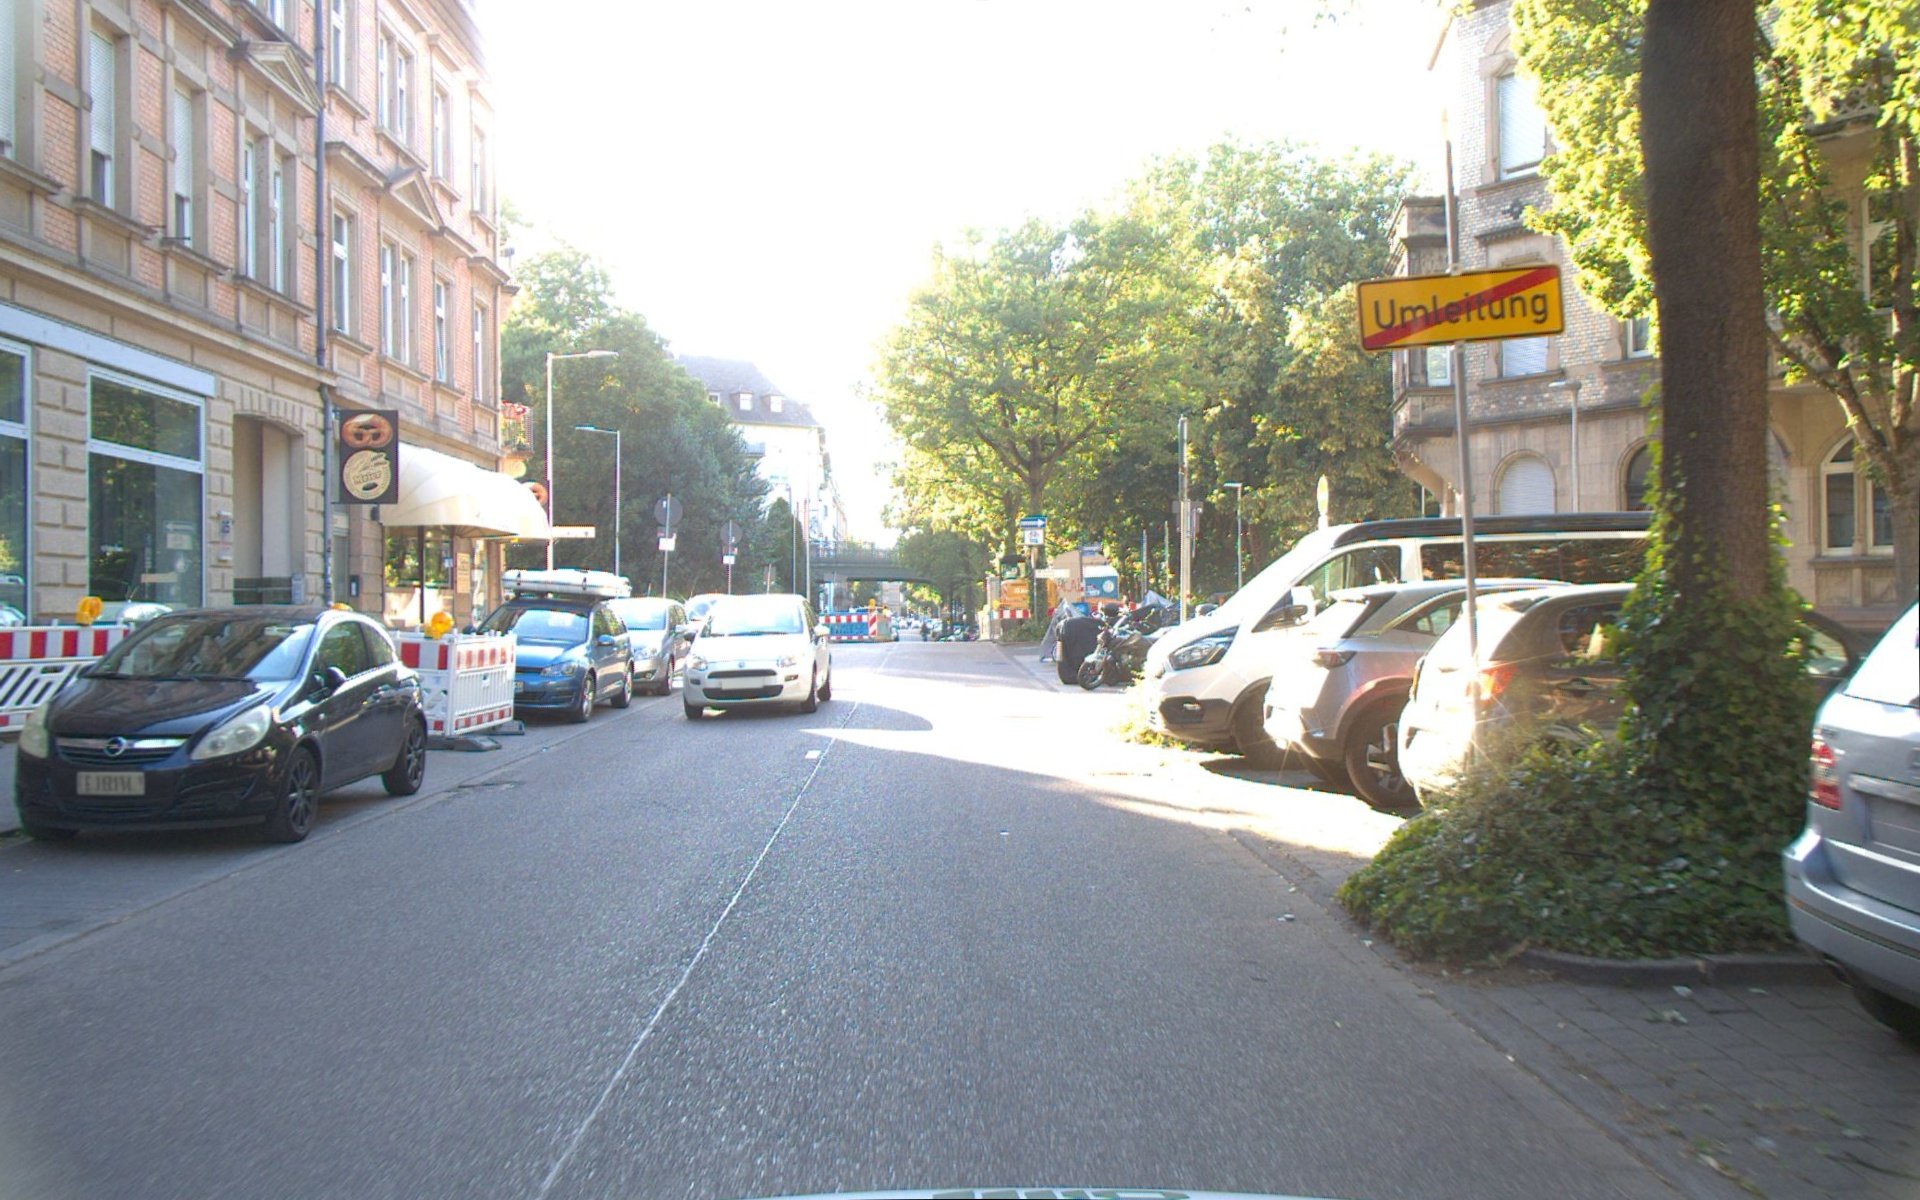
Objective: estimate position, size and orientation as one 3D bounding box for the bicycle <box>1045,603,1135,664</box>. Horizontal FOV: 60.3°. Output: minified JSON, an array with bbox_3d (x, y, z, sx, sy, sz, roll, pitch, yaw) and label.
[{"bbox_3d":[2.753,0.711,35.092,1.887,1.268,0.302,0,0,-7],"label":"bicycle"}]

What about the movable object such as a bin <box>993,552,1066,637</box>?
[{"bbox_3d":[2.342,-0.169,55.143,1.951,2.747,3.113,0,-1,12],"label":"movable object such as a bin"}]

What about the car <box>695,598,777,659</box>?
[{"bbox_3d":[-5.607,0.688,41.790,1.635,1.483,3.999,0,0,-1],"label":"car"}]

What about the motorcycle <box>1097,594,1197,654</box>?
[{"bbox_3d":[4.328,0.553,38.241,2.234,1.365,0.657,0,-1,10],"label":"motorcycle"}]

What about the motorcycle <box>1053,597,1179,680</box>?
[{"bbox_3d":[2.653,0.646,28.257,1.983,1.307,0.903,-3,0,-3],"label":"motorcycle"}]

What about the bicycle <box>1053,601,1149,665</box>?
[{"bbox_3d":[2.820,0.660,33.124,1.887,1.268,0.302,0,0,-7],"label":"bicycle"}]

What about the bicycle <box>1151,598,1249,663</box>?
[{"bbox_3d":[4.811,0.607,33.195,1.887,1.268,0.479,0,0,-7],"label":"bicycle"}]

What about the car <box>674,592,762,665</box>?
[{"bbox_3d":[-5.409,0.614,37.342,1.636,1.557,3.997,0,0,-3],"label":"car"}]

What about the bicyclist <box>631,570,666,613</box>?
[{"bbox_3d":[-10.315,-0.274,54.735,0.797,1.407,0.972,1,0,-37],"label":"bicyclist"}]

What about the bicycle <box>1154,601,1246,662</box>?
[{"bbox_3d":[5.083,0.659,35.056,1.887,1.268,0.479,0,0,-7],"label":"bicycle"}]

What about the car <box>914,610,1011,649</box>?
[{"bbox_3d":[0.099,1.374,76.282,4.302,1.634,1.914,1,-3,-5],"label":"car"}]

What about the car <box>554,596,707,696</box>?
[{"bbox_3d":[-5.292,0.690,27.012,1.690,1.462,3.995,1,0,-1],"label":"car"}]

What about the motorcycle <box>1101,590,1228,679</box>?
[{"bbox_3d":[3.362,0.559,27.294,1.982,1.386,0.694,-2,0,-1],"label":"motorcycle"}]

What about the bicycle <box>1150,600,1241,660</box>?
[{"bbox_3d":[5.050,0.633,35.550,1.887,1.268,0.452,0,0,-7],"label":"bicycle"}]

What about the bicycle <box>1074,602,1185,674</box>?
[{"bbox_3d":[3.034,0.680,29.720,1.887,1.268,0.647,0,0,-7],"label":"bicycle"}]

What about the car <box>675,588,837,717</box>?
[{"bbox_3d":[-2.601,0.623,21.878,1.713,1.535,3.999,-1,0,-1],"label":"car"}]

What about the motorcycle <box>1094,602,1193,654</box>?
[{"bbox_3d":[4.341,0.656,39.114,2.234,1.200,0.972,0,-1,12],"label":"motorcycle"}]

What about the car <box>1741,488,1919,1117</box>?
[{"bbox_3d":[4.572,0.526,4.649,3.907,1.722,1.799,-1,0,-3],"label":"car"}]

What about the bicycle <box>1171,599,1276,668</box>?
[{"bbox_3d":[4.947,0.620,31.088,1.887,1.268,0.479,0,0,-7],"label":"bicycle"}]

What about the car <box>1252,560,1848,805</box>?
[{"bbox_3d":[4.200,0.556,12.189,3.763,1.623,1.740,-1,0,-1],"label":"car"}]

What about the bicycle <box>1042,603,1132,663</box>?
[{"bbox_3d":[2.719,0.704,35.412,1.887,1.268,0.302,0,0,-7],"label":"bicycle"}]

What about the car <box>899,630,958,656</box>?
[{"bbox_3d":[-2.326,3.192,122.838,4.300,1.816,1.915,1,-3,-4],"label":"car"}]

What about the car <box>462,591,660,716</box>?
[{"bbox_3d":[-5.131,0.627,21.797,1.729,1.462,4.298,-1,0,-3],"label":"car"}]

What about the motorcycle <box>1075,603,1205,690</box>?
[{"bbox_3d":[2.861,0.729,26.354,1.975,1.350,0.620,-1,0,-5],"label":"motorcycle"}]

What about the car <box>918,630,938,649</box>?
[{"bbox_3d":[-2.891,3.553,150.188,1.739,1.637,4.400,-1,0,-1],"label":"car"}]

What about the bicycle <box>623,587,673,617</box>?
[{"bbox_3d":[-10.347,0.065,54.776,0.797,0.985,2.081,1,0,-36],"label":"bicycle"}]

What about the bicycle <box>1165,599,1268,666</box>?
[{"bbox_3d":[4.892,0.617,31.596,1.887,1.268,0.479,0,0,-7],"label":"bicycle"}]

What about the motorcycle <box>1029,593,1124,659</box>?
[{"bbox_3d":[2.603,0.568,36.907,1.894,1.437,0.940,0,0,27],"label":"motorcycle"}]

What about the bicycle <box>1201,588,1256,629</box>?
[{"bbox_3d":[8.717,0.269,53.870,1.006,1.308,2.140,-2,0,-13],"label":"bicycle"}]

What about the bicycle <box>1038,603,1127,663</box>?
[{"bbox_3d":[2.648,0.708,35.786,1.887,1.268,0.302,0,0,-7],"label":"bicycle"}]

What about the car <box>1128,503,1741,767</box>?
[{"bbox_3d":[4.073,0.282,14.837,4.872,2.132,2.105,-1,0,-1],"label":"car"}]

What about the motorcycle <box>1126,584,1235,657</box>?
[{"bbox_3d":[4.837,0.445,36.327,2.239,1.558,0.755,0,-1,-7],"label":"motorcycle"}]

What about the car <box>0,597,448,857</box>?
[{"bbox_3d":[-5.000,0.735,11.626,1.669,1.479,4.018,-1,0,-2],"label":"car"}]

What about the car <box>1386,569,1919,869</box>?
[{"bbox_3d":[4.619,0.611,9.653,3.763,1.542,1.847,-1,0,-1],"label":"car"}]

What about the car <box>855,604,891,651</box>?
[{"bbox_3d":[-5.135,1.651,97.302,2.006,2.541,5.692,1,-3,-3],"label":"car"}]
